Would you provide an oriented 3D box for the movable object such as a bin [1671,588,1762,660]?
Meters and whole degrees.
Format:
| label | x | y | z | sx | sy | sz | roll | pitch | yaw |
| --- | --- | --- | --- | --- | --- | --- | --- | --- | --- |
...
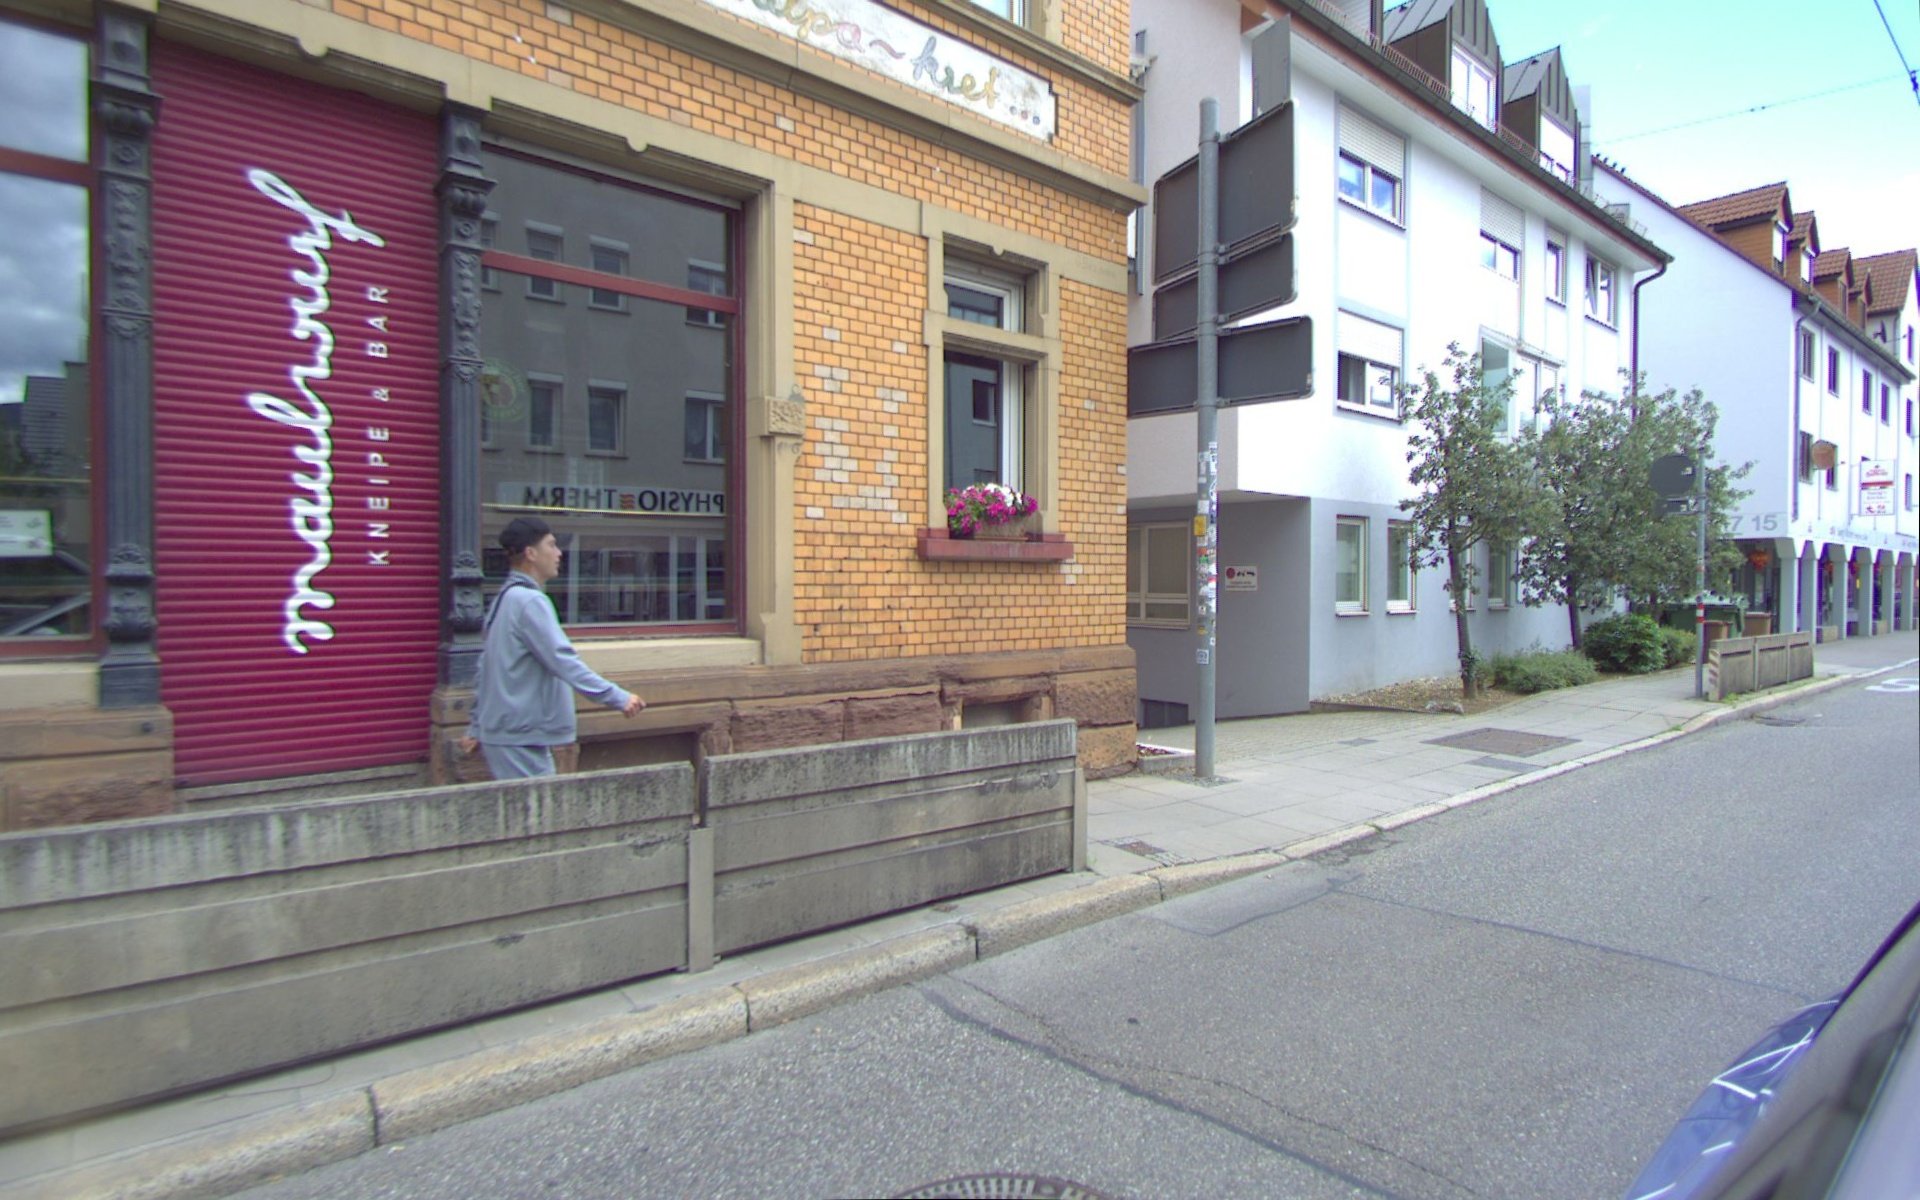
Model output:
| label | x | y | z | sx | sy | sz | roll | pitch | yaw |
| --- | --- | --- | --- | --- | --- | --- | --- | --- | --- |
| movable object such as a bin | 15.737 | 0.470 | 21.056 | 1.141 | 1.435 | 1.270 | 0 | 1 | -39 |

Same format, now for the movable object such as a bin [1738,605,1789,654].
| label | x | y | z | sx | sy | sz | roll | pitch | yaw |
| --- | --- | --- | --- | --- | --- | --- | --- | --- | --- |
| movable object such as a bin | 18.688 | 0.672 | 23.532 | 0.953 | 1.080 | 0.685 | 0 | 1 | -36 |

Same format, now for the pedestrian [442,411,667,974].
| label | x | y | z | sx | sy | sz | roll | pitch | yaw |
| --- | --- | --- | --- | --- | --- | --- | --- | --- | --- |
| pedestrian | -1.666 | 0.328 | 4.144 | 0.665 | 2.039 | 0.694 | 0 | 1 | -41 |

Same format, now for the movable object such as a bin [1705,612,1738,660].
| label | x | y | z | sx | sy | sz | roll | pitch | yaw |
| --- | --- | --- | --- | --- | --- | --- | --- | --- | --- |
| movable object such as a bin | 15.294 | 0.719 | 20.332 | 0.457 | 0.932 | 0.431 | 0 | 1 | -39 |

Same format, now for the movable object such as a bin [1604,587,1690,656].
| label | x | y | z | sx | sy | sz | roll | pitch | yaw |
| --- | --- | --- | --- | --- | --- | --- | --- | --- | --- |
| movable object such as a bin | 15.177 | 0.437 | 22.359 | 1.284 | 1.453 | 1.270 | 0 | 1 | -39 |
